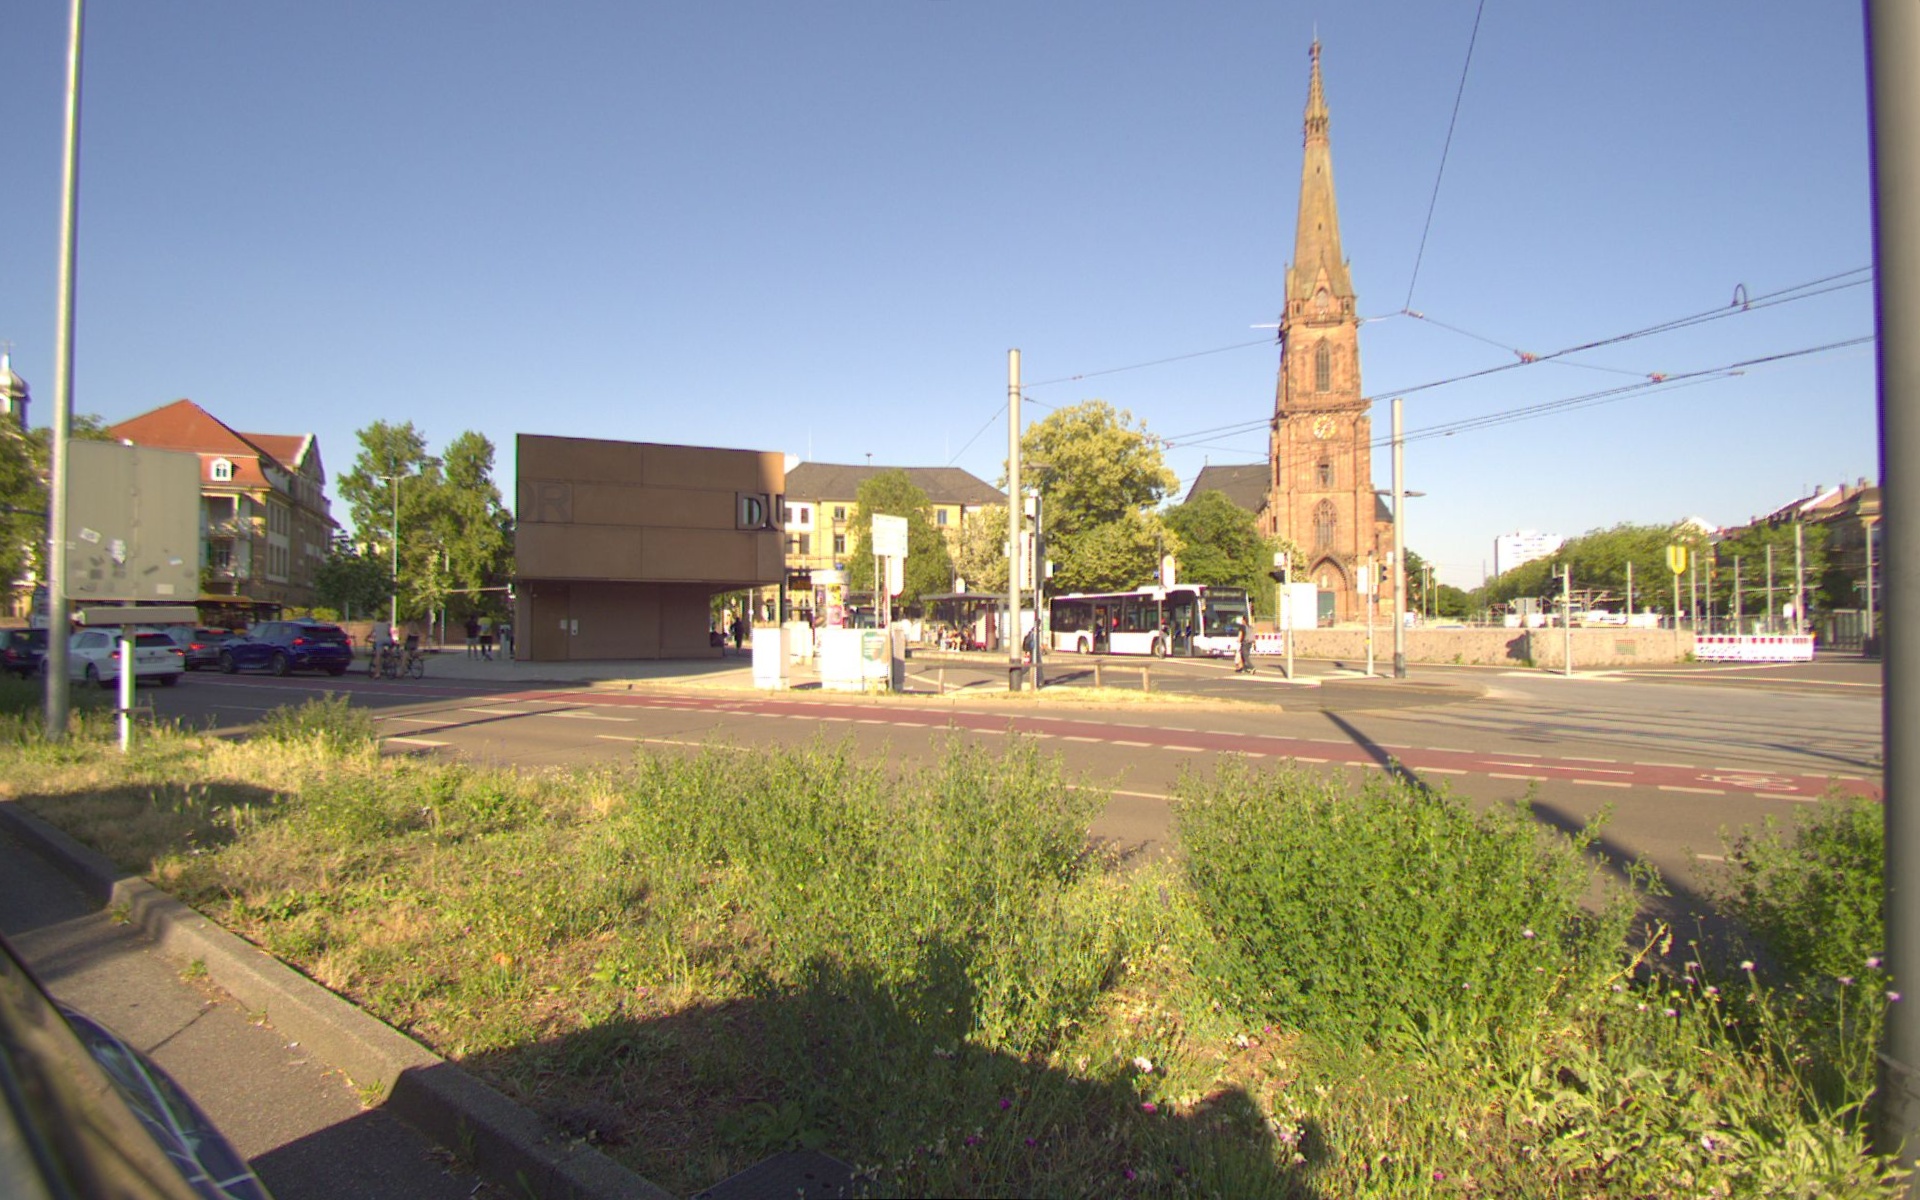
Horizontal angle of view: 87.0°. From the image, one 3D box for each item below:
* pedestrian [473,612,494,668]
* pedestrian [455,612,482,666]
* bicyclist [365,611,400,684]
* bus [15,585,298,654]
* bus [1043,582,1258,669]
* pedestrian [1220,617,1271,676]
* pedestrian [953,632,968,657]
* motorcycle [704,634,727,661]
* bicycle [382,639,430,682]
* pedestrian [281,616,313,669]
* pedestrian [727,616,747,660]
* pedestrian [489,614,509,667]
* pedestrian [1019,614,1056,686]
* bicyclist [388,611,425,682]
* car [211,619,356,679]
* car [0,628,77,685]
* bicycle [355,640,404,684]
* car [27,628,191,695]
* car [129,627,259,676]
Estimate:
[{"bbox_3d":[-17.535,1.449,37.274,0.645,2.029,0.470,-1,0,-29],"label":"pedestrian"},{"bbox_3d":[-18.679,1.461,38.437,0.765,2.029,0.775,-1,0,-37],"label":"pedestrian"},{"bbox_3d":[-16.289,1.330,28.551,0.562,2.029,0.605,-1,-2,25],"label":"bicyclist"},{"bbox_3d":[-41.817,0.902,53.651,3.058,3.236,12.487,-1,0,14],"label":"bus"},{"bbox_3d":[7.633,0.968,43.398,2.655,3.174,12.216,-1,0,-23],"label":"bus"},{"bbox_3d":[8.507,1.359,30.174,1.025,1.696,1.007,-1,0,-25],"label":"pedestrian"},{"bbox_3d":[0.024,2.193,50.009,0.531,1.196,0.660,-1,0,-21],"label":"pedestrian"},{"bbox_3d":[-10.157,1.958,42.053,0.935,1.075,0.331,-1,0,-11],"label":"motorcycle"},{"bbox_3d":[-15.986,1.739,29.199,1.388,1.201,0.461,-1,0,24],"label":"bicycle"},{"bbox_3d":[-24.437,1.554,37.319,0.787,1.911,0.612,0,-2,-9],"label":"pedestrian"},{"bbox_3d":[-10.657,1.811,48.332,0.762,2.029,0.778,-1,0,-2],"label":"pedestrian"},{"bbox_3d":[-18.059,1.581,39.666,0.645,2.029,0.470,-1,0,-29],"label":"pedestrian"},{"bbox_3d":[1.959,1.253,25.640,0.702,1.771,0.584,-1,0,-30],"label":"pedestrian"},{"bbox_3d":[-15.962,1.339,29.182,0.705,2.029,0.605,-1,-2,25],"label":"bicyclist"},{"bbox_3d":[-20.134,1.413,30.119,4.166,1.703,1.741,-1,-1,26],"label":"car"},{"bbox_3d":[-26.912,1.545,28.498,4.169,1.471,1.740,-1,0,28],"label":"car"},{"bbox_3d":[-16.381,1.744,28.557,1.388,1.201,0.461,-1,0,24],"label":"bicycle"},{"bbox_3d":[-21.486,1.493,25.522,4.375,1.503,1.831,-1,0,30],"label":"car"},{"bbox_3d":[-25.086,1.656,33.128,4.375,1.503,1.831,-1,-4,30],"label":"car"}]
